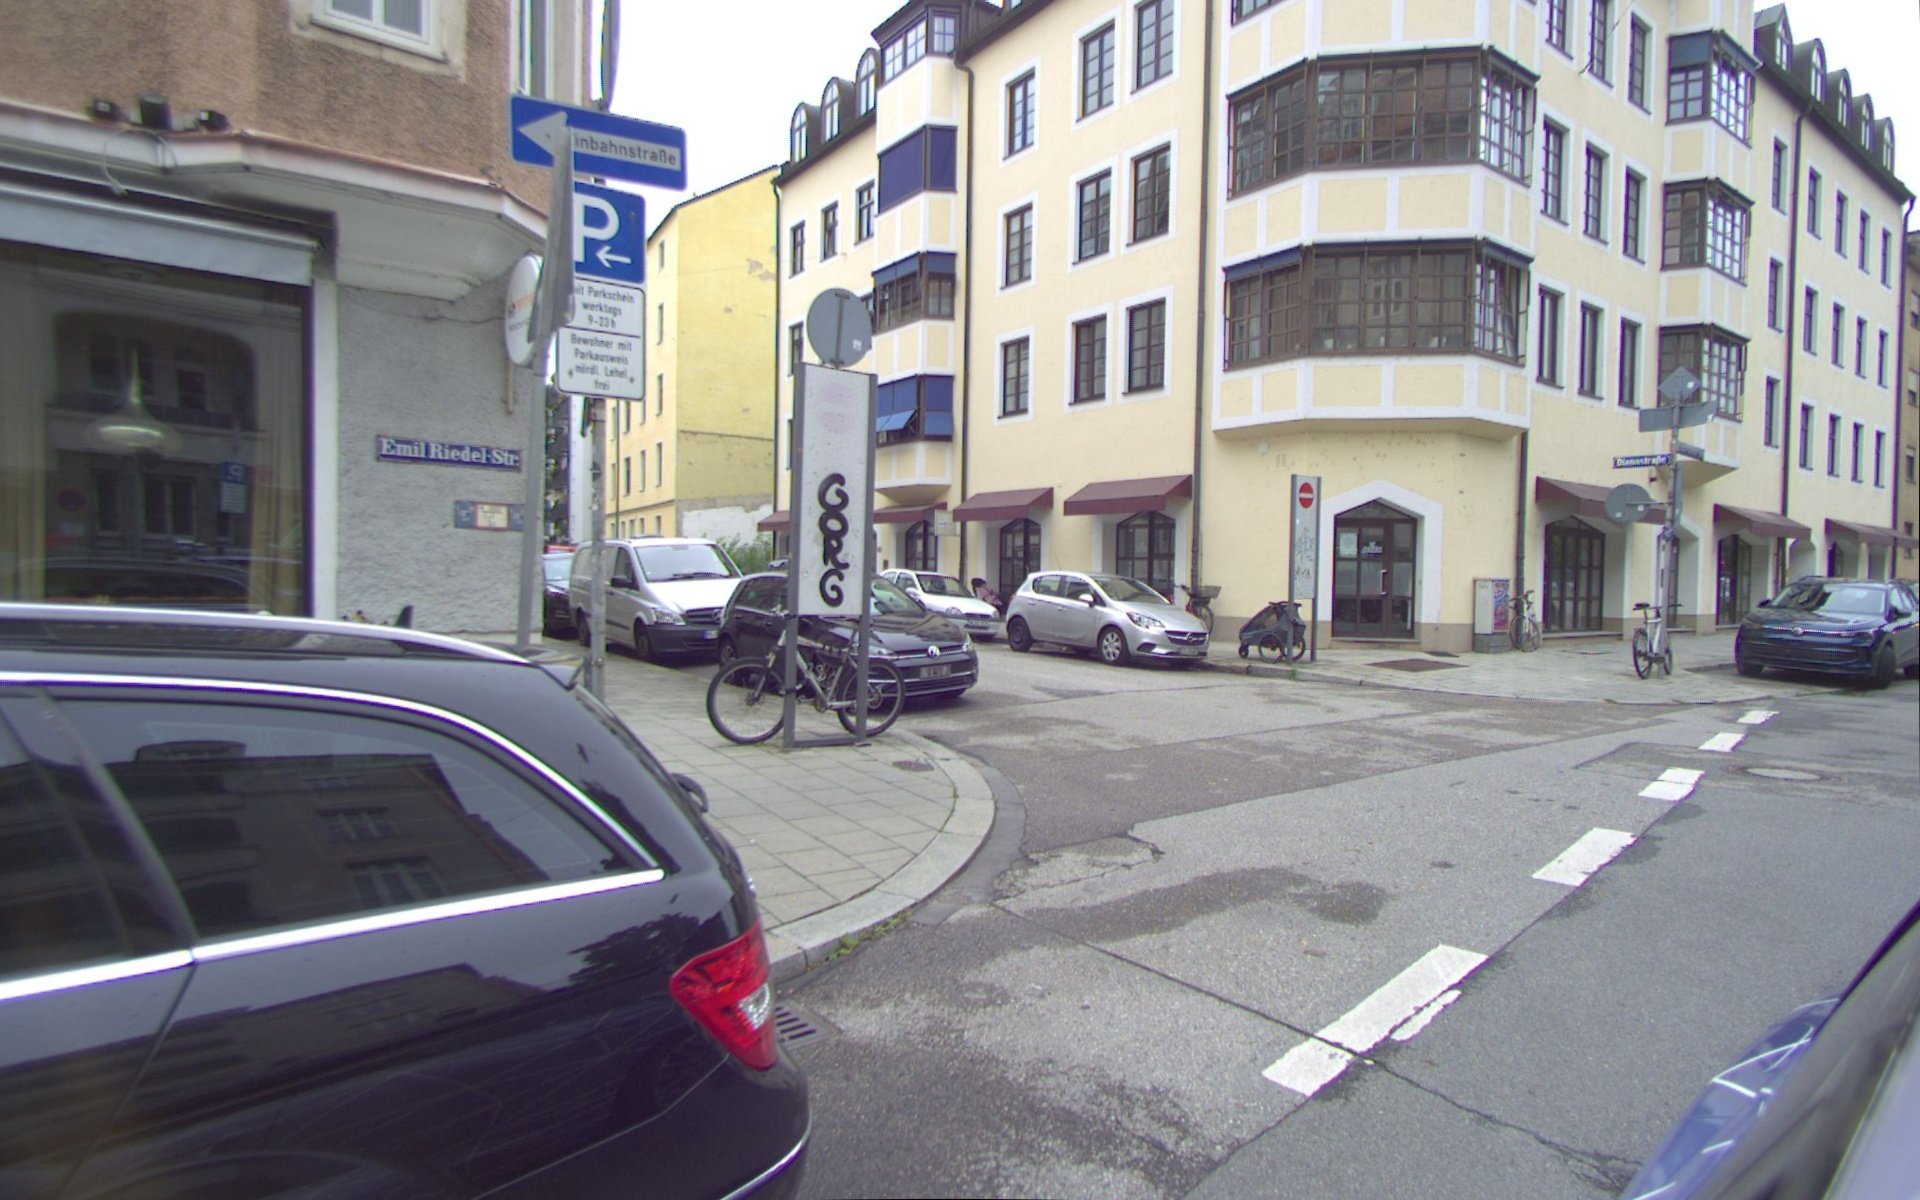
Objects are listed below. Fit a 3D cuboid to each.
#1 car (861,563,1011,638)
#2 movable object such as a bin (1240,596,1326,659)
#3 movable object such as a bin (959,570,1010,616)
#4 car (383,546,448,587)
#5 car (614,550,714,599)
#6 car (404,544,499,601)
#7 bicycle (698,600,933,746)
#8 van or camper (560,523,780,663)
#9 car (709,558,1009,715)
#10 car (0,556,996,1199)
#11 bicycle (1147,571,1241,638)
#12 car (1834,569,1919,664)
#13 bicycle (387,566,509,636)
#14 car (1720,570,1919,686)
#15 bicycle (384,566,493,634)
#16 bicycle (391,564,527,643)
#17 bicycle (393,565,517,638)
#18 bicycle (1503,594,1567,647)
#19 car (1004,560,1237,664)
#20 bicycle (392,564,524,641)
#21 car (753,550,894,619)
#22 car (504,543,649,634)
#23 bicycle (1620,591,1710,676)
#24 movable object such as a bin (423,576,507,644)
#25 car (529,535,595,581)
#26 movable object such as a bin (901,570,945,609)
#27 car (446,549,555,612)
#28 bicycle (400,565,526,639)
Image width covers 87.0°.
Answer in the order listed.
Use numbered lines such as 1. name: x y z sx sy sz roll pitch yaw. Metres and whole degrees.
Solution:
1. car: -0.587 -0.048 21.435 1.607 1.353 3.459 -1 4 -33
2. movable object such as a bin: 5.157 0.426 16.194 0.671 0.911 1.126 -1 3 -36
3. movable object such as a bin: 0.604 -0.196 25.415 0.753 1.094 1.126 -1 3 -36
4. car: -22.799 -1.430 42.261 1.940 1.587 4.673 -1 3 -34
5. car: -10.296 -0.921 34.983 1.941 1.587 4.431 -1 2 -36
6. car: -15.898 -0.914 31.508 1.941 1.587 4.672 -1 3 -36
7. bicycle: -1.114 0.544 8.015 1.768 1.017 0.497 1 3 -35
8. van or camper: -4.909 -0.237 16.596 1.924 1.942 4.917 -3 4 -35
9. car: -1.358 0.284 12.071 1.857 1.506 3.885 -1 3 -36
10. car: -2.357 0.643 1.185 4.700 1.422 1.852 -1 2 -38
11. bicycle: 4.541 0.065 19.786 0.506 1.201 1.907 0 2 -36
12. car: 18.910 0.292 19.613 4.083 1.607 1.822 -1 7 -33
13. bicycle: -8.847 -0.011 17.556 0.415 1.157 1.904 2 3 36
14. car: 14.631 0.362 16.752 4.413 1.642 2.113 -1 2 -37
15. bicycle: -9.430 -0.025 18.365 0.415 1.157 1.777 2 3 36
16. bicycle: -7.742 0.021 15.717 0.472 1.157 1.904 2 3 36
17. bicycle: -8.513 -0.003 17.123 0.415 1.157 1.904 2 3 36
18. bicycle: 10.727 0.368 18.856 1.663 0.912 0.263 -1 7 -35
19. car: 2.553 0.144 16.867 1.717 1.458 3.750 3 1 -33
20. bicycle: -8.006 0.012 16.221 0.472 1.157 1.904 2 3 36
21. car: -3.524 -0.449 25.500 1.947 1.603 4.031 -1 3 -34
22. car: -8.043 -0.320 21.012 1.941 1.664 4.000 -1 3 -35
23. bicycle: 10.718 0.477 15.358 2.014 1.173 0.431 -1 3 -36
24. movable object such as a bin: -7.427 0.138 15.188 0.953 0.962 0.733 1 2 -44
25. car: -18.273 -1.906 46.374 2.025 2.003 4.435 0 2 -33
26. movable object such as a bin: -1.019 -0.297 27.655 0.671 1.026 1.126 -1 3 -36
27. car: -12.370 -0.537 27.090 1.940 1.522 4.672 0 2 -34
28. bicycle: -8.209 0.002 16.800 0.415 1.157 1.904 2 3 36
